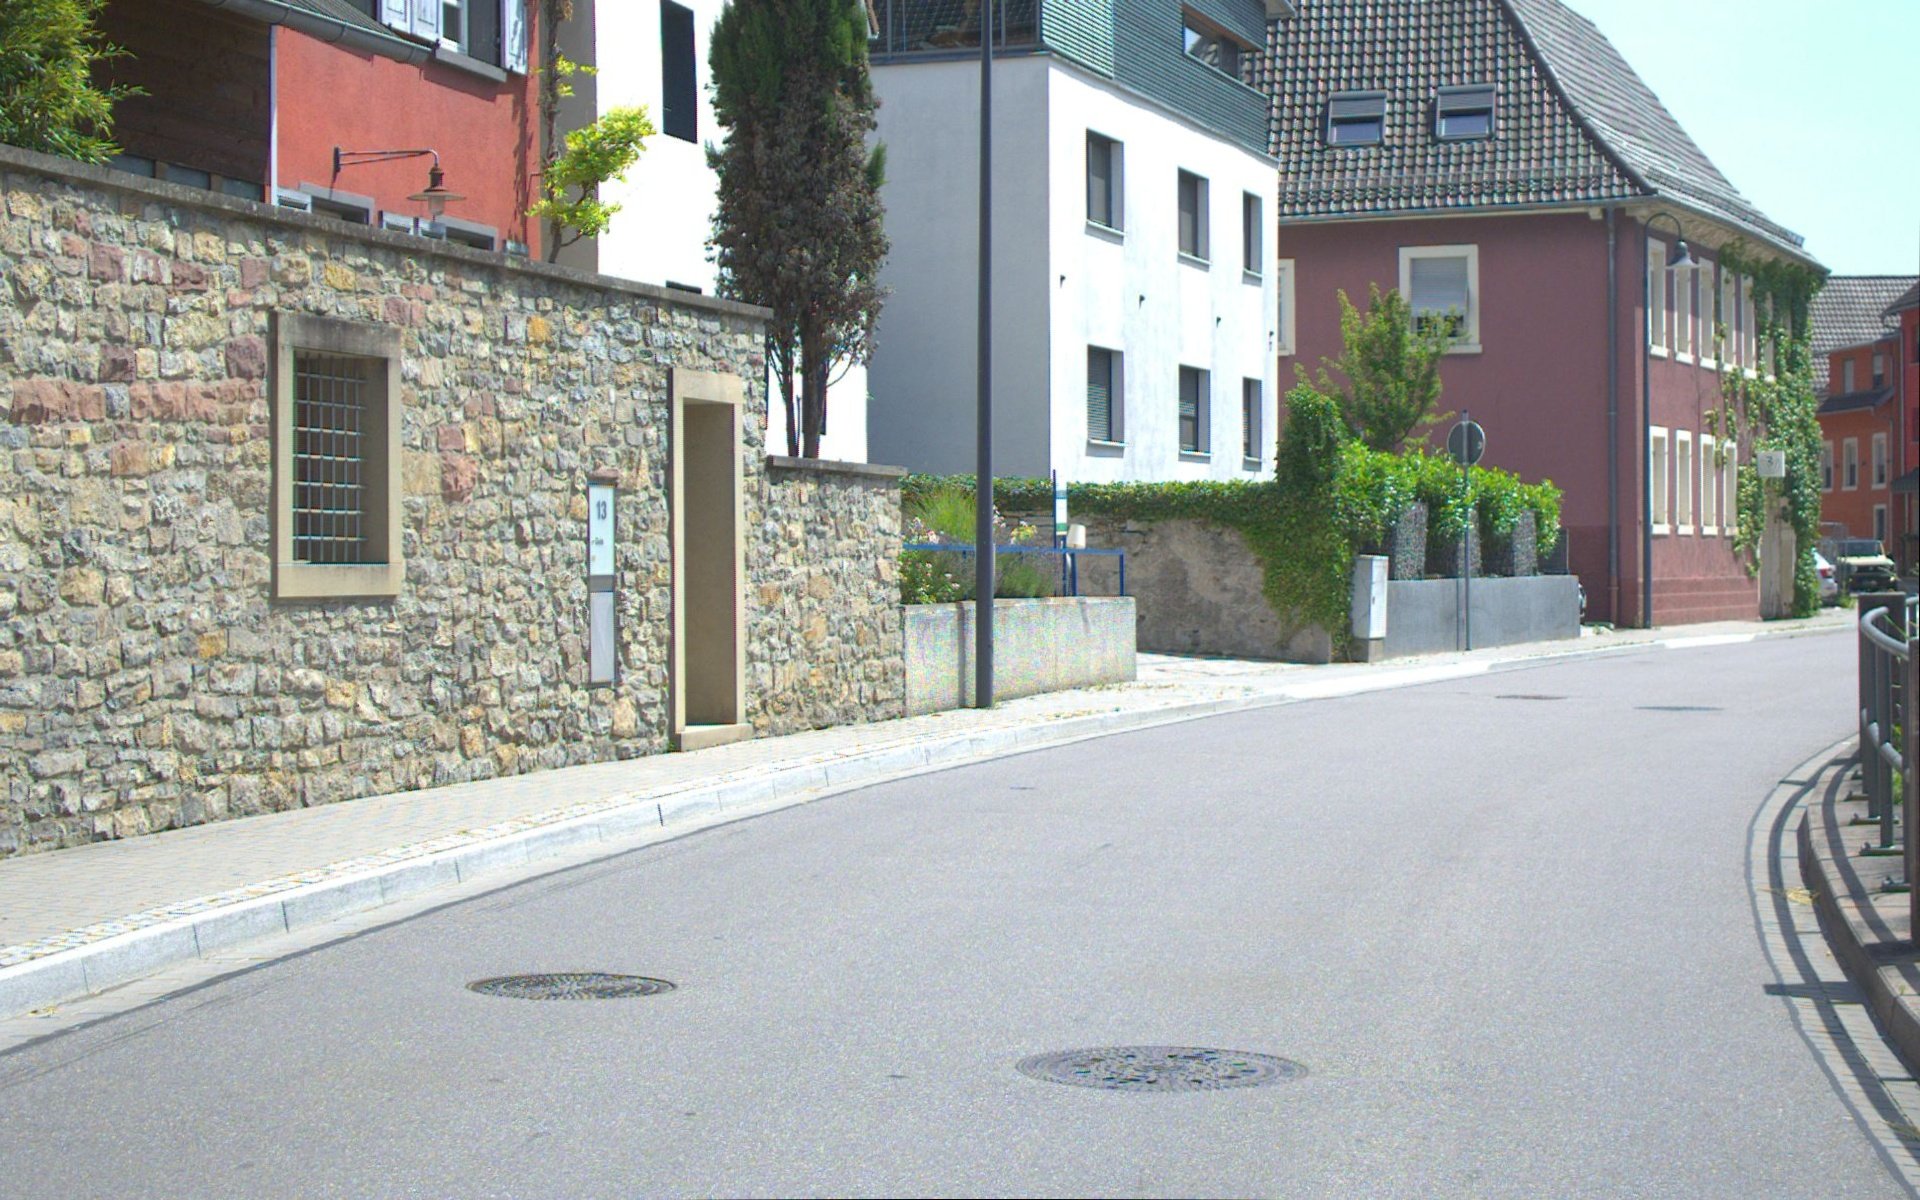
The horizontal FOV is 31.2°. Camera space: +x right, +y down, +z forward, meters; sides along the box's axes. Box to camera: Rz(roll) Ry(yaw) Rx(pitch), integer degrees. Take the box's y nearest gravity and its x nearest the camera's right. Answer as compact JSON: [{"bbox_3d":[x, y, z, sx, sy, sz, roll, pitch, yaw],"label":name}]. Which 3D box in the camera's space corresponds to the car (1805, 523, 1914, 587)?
[{"bbox_3d":[25.826,-1.276,98.790,1.621,1.713,3.474,-3,0,-11],"label":"car"}]

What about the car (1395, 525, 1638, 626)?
[{"bbox_3d":[9.167,-0.428,56.593,3.569,1.401,1.650,4,3,24],"label":"car"}]
